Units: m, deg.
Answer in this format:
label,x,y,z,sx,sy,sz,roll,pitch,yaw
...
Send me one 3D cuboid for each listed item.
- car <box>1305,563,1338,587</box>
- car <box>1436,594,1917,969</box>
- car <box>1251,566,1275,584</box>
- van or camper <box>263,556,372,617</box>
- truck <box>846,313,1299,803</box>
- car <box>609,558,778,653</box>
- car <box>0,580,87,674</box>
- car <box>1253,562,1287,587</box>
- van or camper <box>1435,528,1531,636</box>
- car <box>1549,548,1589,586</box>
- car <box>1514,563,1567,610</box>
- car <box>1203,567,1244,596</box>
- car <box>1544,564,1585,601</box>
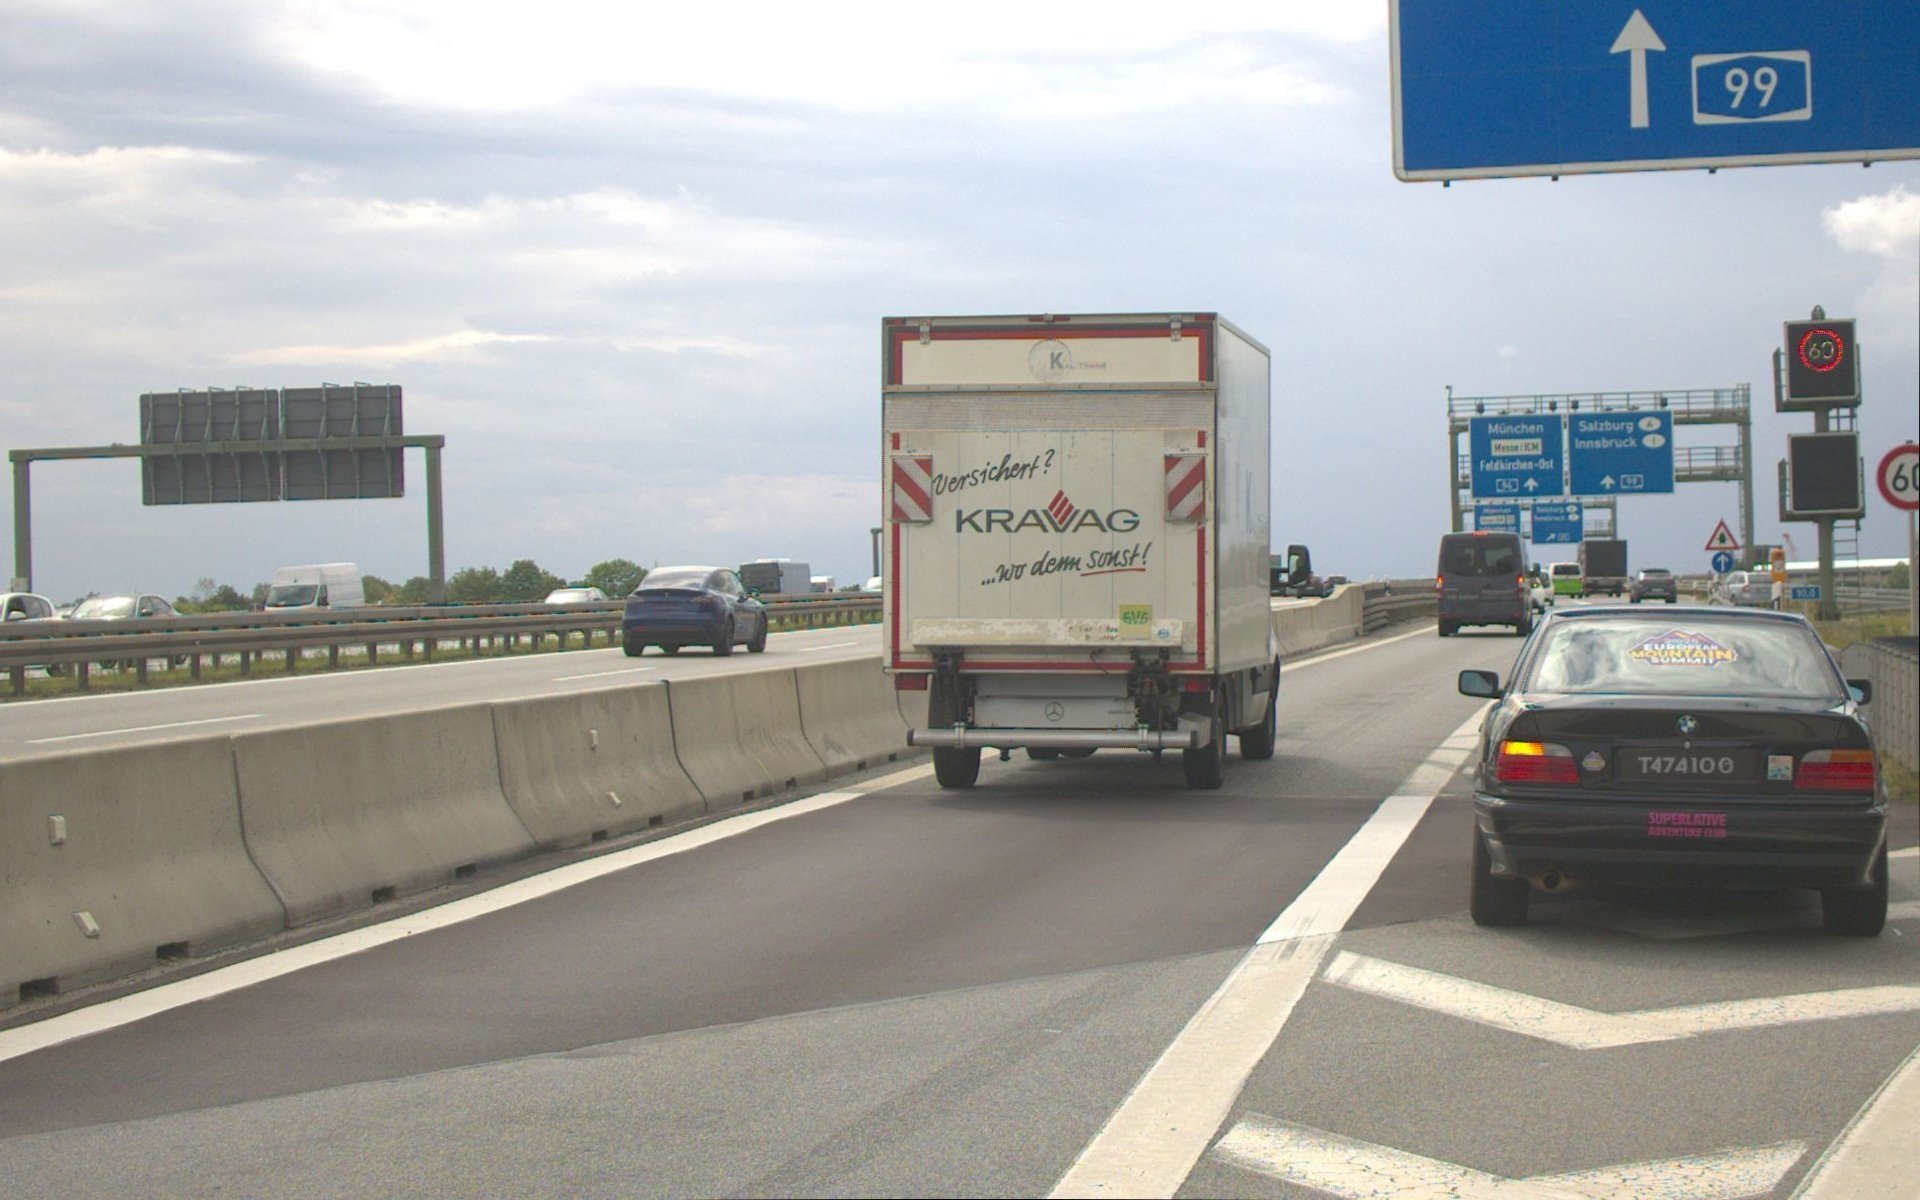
label,x,y,z,sx,sy,sz,roll,pitch,yaw
car,22.864,-1.585,217.378,1.774,1.525,3.998,-1,0,9
car,3.090,0.686,15.118,1.783,1.373,4.135,-1,0,10
car,22.913,-1.884,260.216,1.553,1.371,3.999,0,1,9
van or camper,-23.310,-0.504,124.877,2.187,2.164,5.808,0,1,7
truck,1.009,-0.297,24.958,2.405,3.079,6.367,0,1,10
car,-4.782,0.079,62.378,1.994,1.656,4.382,0,1,11
car,-15.310,0.406,54.646,1.892,1.418,4.000,0,1,-1
car,20.495,-1.693,227.255,1.902,1.633,4.232,0,1,9
van or camper,11.951,-0.424,78.293,2.000,2.362,6.124,0,1,10
car,33.254,-1.794,187.801,1.994,2.007,3.999,0,0,8
car,19.234,-0.454,113.981,1.702,1.503,3.839,0,1,9
car,15.093,-1.067,196.740,1.902,1.634,4.643,0,1,9
car,24.442,-0.705,138.953,1.586,1.479,3.533,-1,0,10
